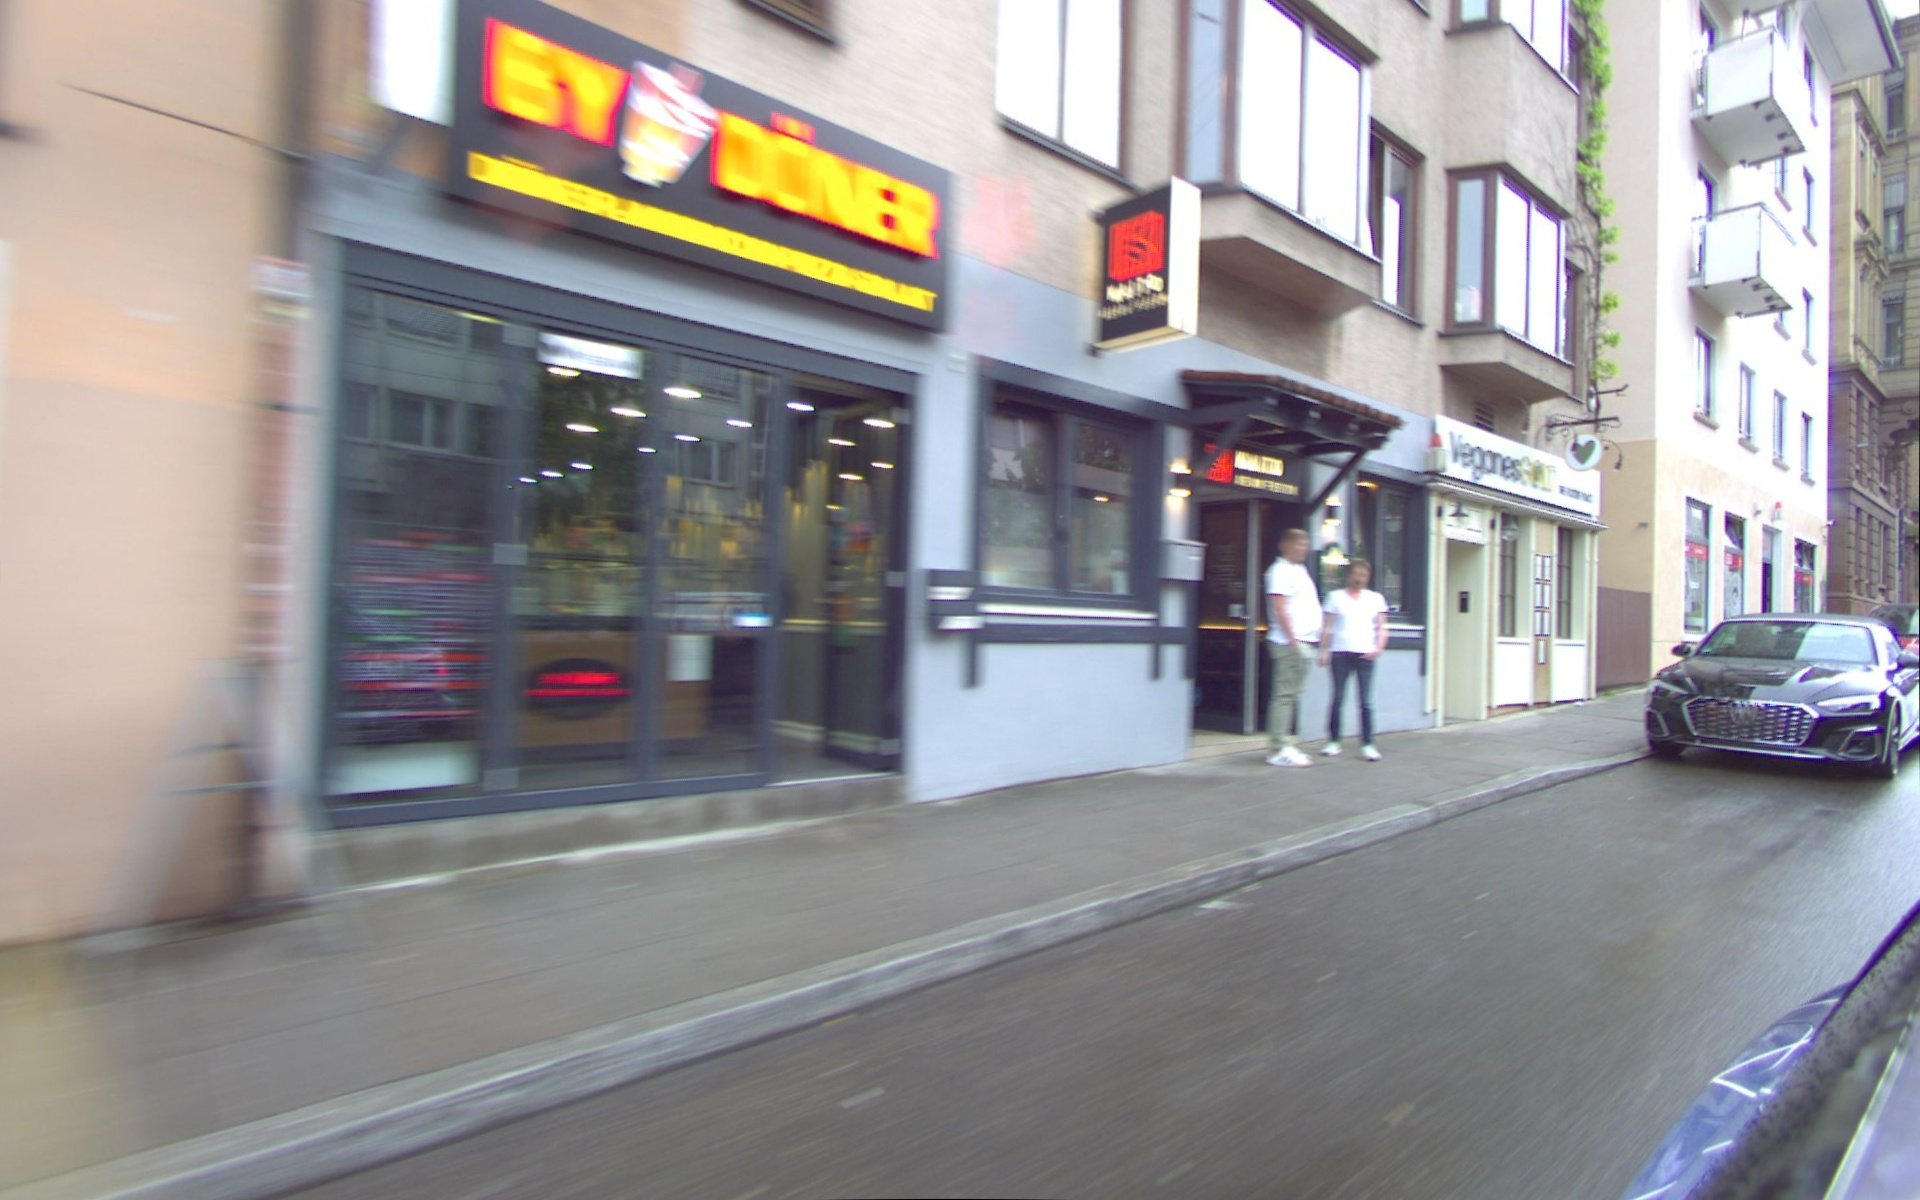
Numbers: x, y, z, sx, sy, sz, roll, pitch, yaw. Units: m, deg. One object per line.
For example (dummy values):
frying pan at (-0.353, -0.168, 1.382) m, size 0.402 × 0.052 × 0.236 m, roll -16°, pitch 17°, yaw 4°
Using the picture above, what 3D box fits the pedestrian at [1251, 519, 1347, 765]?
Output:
pedestrian at (2.719, 0.309, 8.118) m, size 0.528 × 1.881 × 0.548 m, roll 2°, pitch 1°, yaw 42°

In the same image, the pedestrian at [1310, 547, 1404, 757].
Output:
pedestrian at (3.370, 0.414, 8.584) m, size 0.544 × 1.701 × 0.587 m, roll 2°, pitch 1°, yaw 42°

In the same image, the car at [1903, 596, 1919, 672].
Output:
car at (20.247, 0.669, 20.167) m, size 3.384 × 1.480 × 1.720 m, roll 0°, pitch 1°, yaw -40°

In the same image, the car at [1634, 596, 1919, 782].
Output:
car at (8.664, 0.721, 10.359) m, size 4.171 × 1.480 × 1.910 m, roll 0°, pitch 1°, yaw -41°

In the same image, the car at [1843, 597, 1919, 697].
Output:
car at (15.645, 0.710, 16.298) m, size 3.353 × 1.480 × 1.649 m, roll 0°, pitch 1°, yaw -40°
